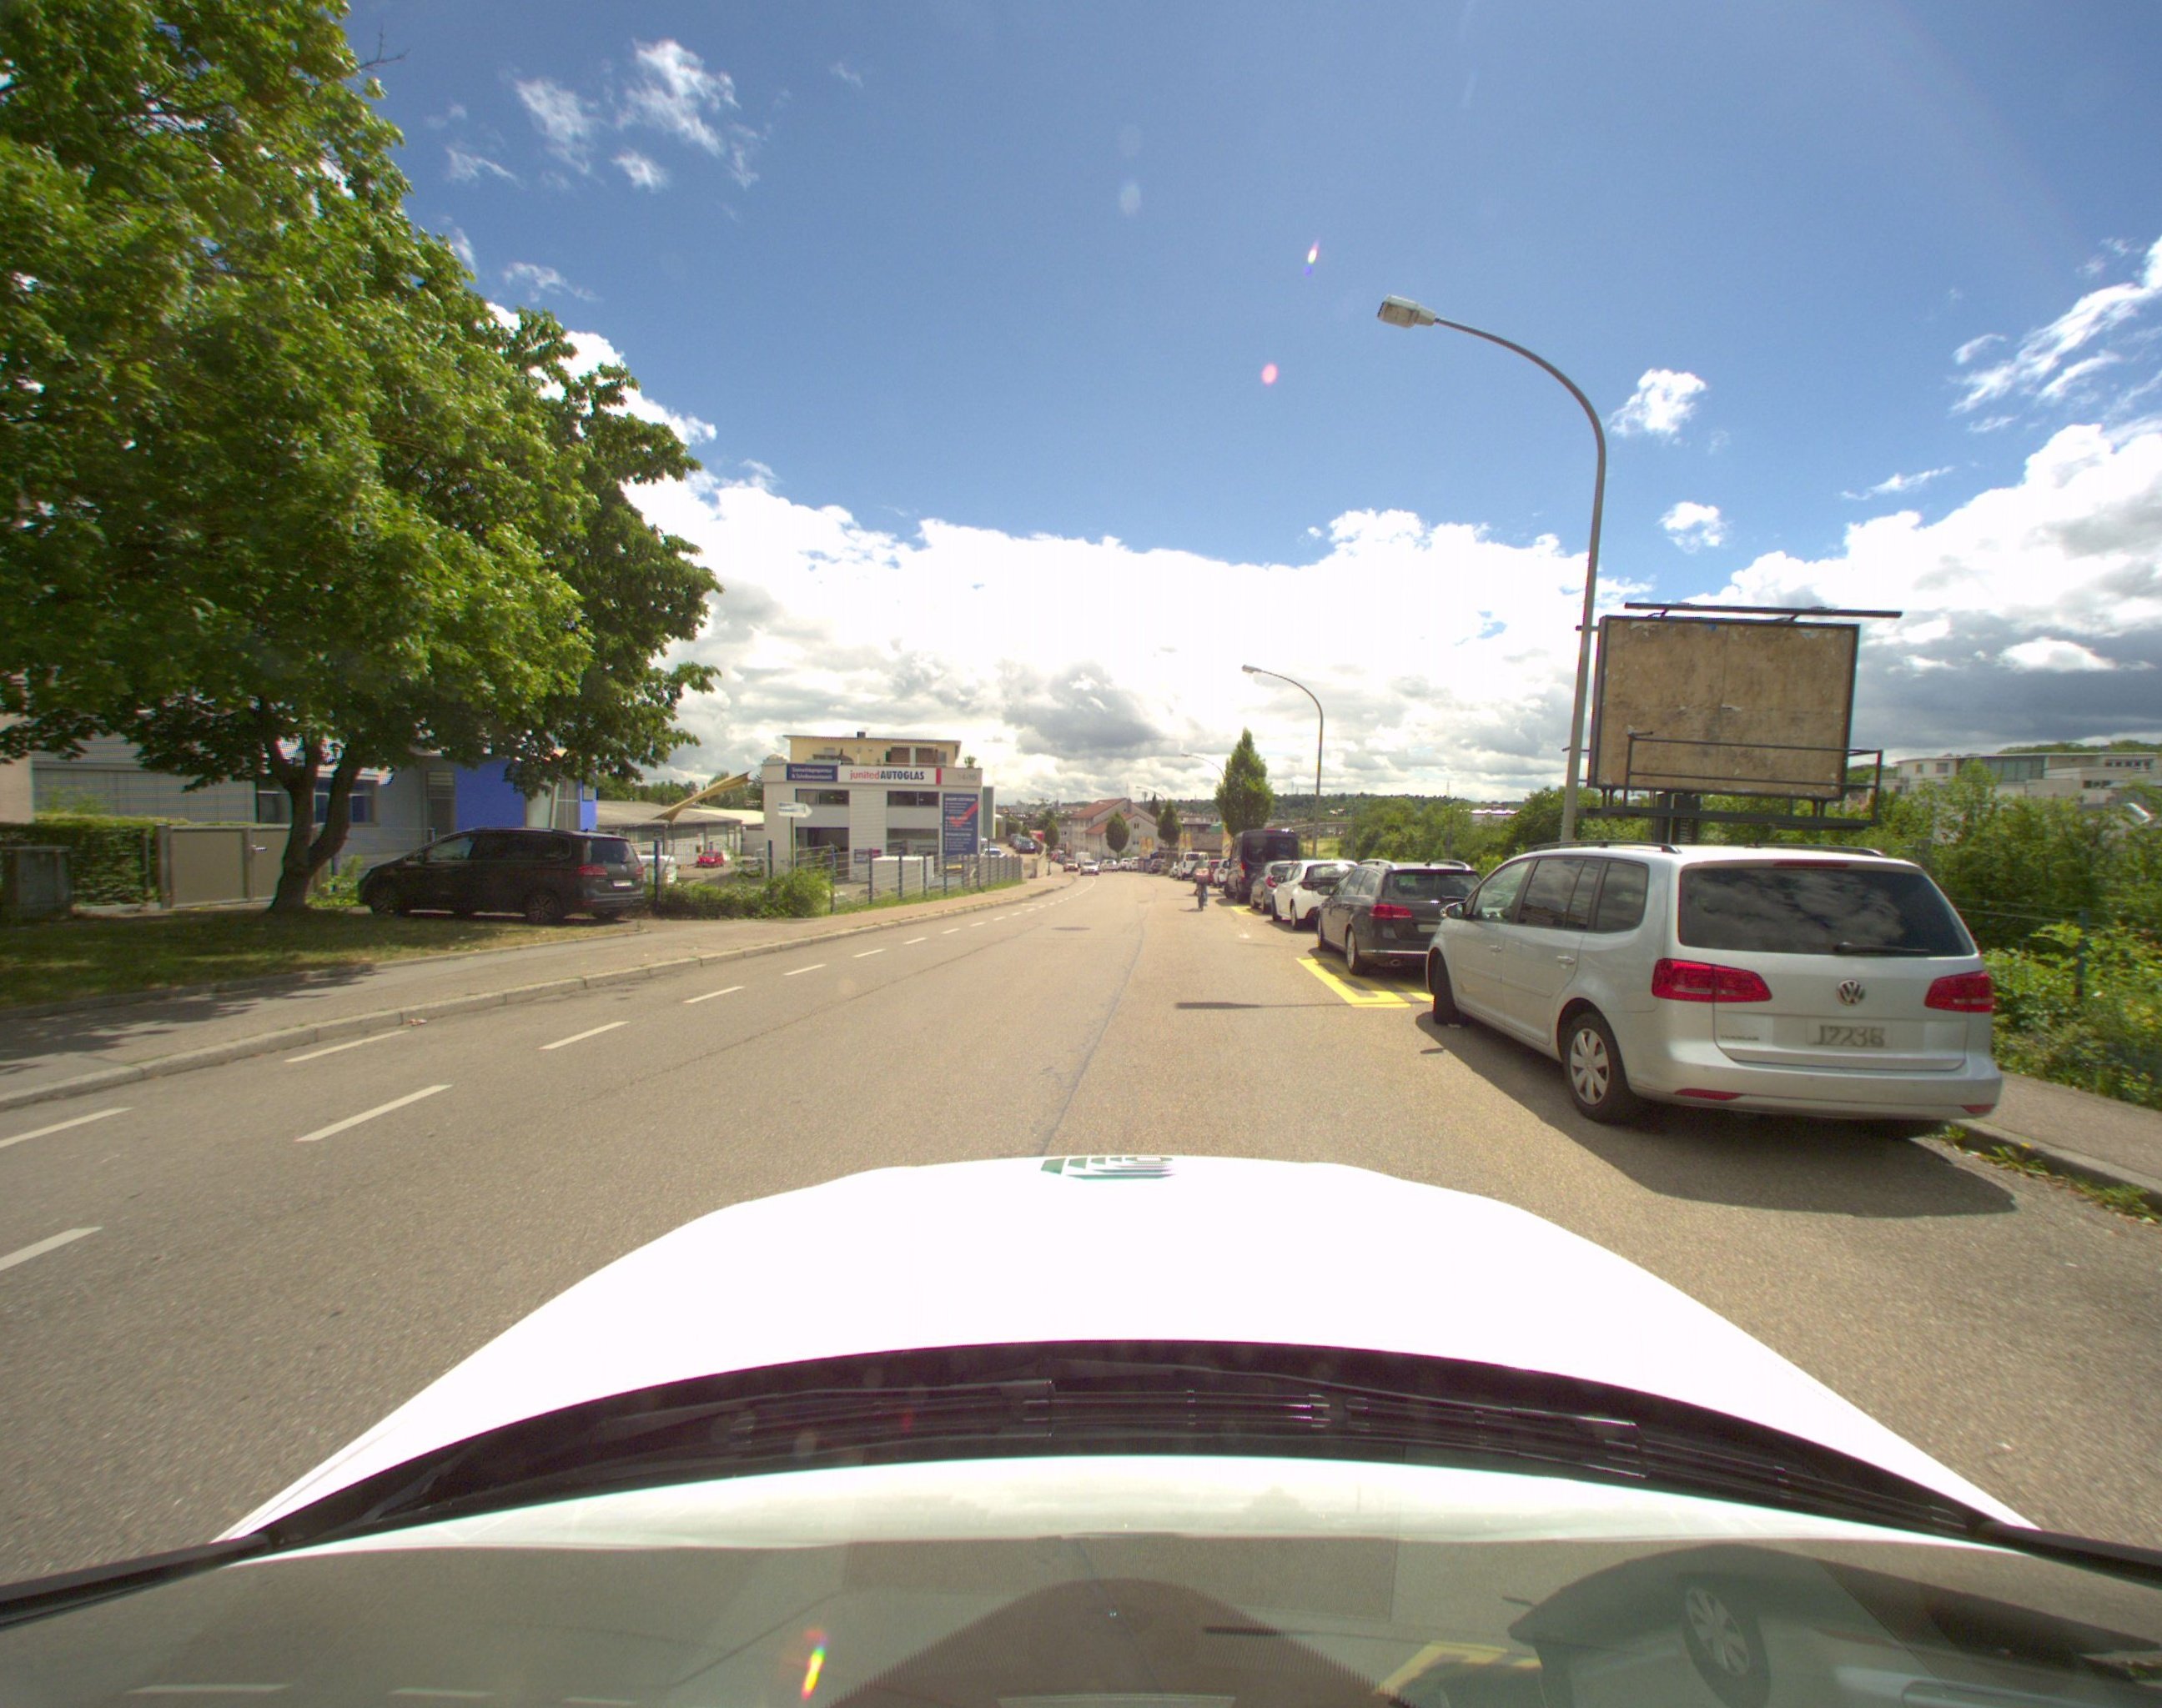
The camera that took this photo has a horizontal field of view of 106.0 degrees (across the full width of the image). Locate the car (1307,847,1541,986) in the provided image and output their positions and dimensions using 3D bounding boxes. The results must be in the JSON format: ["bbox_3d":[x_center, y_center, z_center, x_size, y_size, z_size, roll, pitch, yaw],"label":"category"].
[{"bbox_3d":[4.421,0.685,11.296,1.697,1.487,4.580,2,0,6],"label":"car"}]

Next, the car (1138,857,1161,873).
[{"bbox_3d":[7.653,1.277,91.070,2.129,1.706,3.996,-1,-1,-2],"label":"car"}]

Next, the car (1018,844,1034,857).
[{"bbox_3d":[-5.992,-0.393,88.670,1.668,1.323,3.711,-1,0,-5],"label":"car"}]

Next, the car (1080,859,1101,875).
[{"bbox_3d":[0.906,1.348,82.369,1.699,1.562,4.320,0,-1,-5],"label":"car"}]

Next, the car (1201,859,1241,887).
[{"bbox_3d":[8.200,1.096,47.933,1.867,1.508,4.003,-1,-1,3],"label":"car"}]

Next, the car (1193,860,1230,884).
[{"bbox_3d":[8.369,1.163,52.607,1.896,1.442,3.545,-1,-1,2],"label":"car"}]

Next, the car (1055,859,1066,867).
[{"bbox_3d":[-4.141,1.806,166.122,1.991,1.464,3.991,-1,-1,-6],"label":"car"}]

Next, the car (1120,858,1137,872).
[{"bbox_3d":[5.939,1.412,102.211,1.838,1.706,3.996,-1,-1,-2],"label":"car"}]

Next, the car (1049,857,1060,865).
[{"bbox_3d":[-5.702,1.507,172.983,1.991,1.464,3.991,-1,-1,-6],"label":"car"}]

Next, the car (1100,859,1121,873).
[{"bbox_3d":[3.506,1.417,96.140,1.990,1.618,3.993,-1,-1,-5],"label":"car"}]

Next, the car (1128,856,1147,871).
[{"bbox_3d":[6.659,1.104,96.524,1.808,1.706,3.996,-1,-1,-2],"label":"car"}]

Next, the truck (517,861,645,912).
[{"bbox_3d":[-28.356,1.815,46.338,5.776,2.706,2.172,-1,-1,-7],"label":"truck"}]

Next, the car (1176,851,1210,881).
[{"bbox_3d":[8.121,0.870,59.336,1.985,2.014,4.921,1,-1,3],"label":"car"}]

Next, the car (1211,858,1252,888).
[{"bbox_3d":[8.006,0.999,43.591,1.785,1.506,2.908,-1,-1,3],"label":"car"}]

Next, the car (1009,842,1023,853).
[{"bbox_3d":[-8.514,-0.897,106.307,1.669,1.323,3.708,-1,1,-8],"label":"car"}]

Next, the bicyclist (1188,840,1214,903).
[{"bbox_3d":[3.557,0.518,24.190,0.681,1.826,1.082,-1,-1,6],"label":"bicyclist"}]

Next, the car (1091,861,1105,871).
[{"bbox_3d":[2.737,1.898,128.870,1.988,1.464,3.997,-1,-1,-2],"label":"car"}]

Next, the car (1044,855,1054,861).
[{"bbox_3d":[-7.419,0.952,188.937,1.992,1.420,3.990,-1,-1,-7],"label":"car"}]

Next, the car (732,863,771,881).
[{"bbox_3d":[-26.181,1.394,64.845,1.993,1.354,3.986,0,-1,-10],"label":"car"}]

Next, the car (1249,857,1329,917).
[{"bbox_3d":[5.903,0.882,23.487,1.697,1.510,3.702,2,0,6],"label":"car"}]

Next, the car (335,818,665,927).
[{"bbox_3d":[-10.565,0.337,15.046,4.676,1.716,2.003,2,-2,5],"label":"car"}]

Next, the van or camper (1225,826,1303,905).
[{"bbox_3d":[6.569,0.410,29.851,2.114,2.585,5.927,0,-1,6],"label":"van or camper"}]

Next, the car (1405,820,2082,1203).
[{"bbox_3d":[3.866,0.704,5.885,1.697,1.678,4.315,2,0,6],"label":"car"}]

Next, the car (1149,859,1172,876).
[{"bbox_3d":[7.979,1.331,82.051,1.986,1.618,4.002,-1,-1,2],"label":"car"}]

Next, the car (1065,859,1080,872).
[{"bbox_3d":[-1.087,1.471,101.860,1.705,1.574,3.994,-1,-1,-4],"label":"car"}]

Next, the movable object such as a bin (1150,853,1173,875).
[{"bbox_3d":[8.544,1.046,86.433,2.129,2.303,2.555,-1,-1,-2],"label":"movable object such as a bin"}]

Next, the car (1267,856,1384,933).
[{"bbox_3d":[5.351,0.807,18.304,1.697,1.479,3.963,2,0,5],"label":"car"}]

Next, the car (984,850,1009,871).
[{"bbox_3d":[-6.890,0.523,65.941,1.846,1.650,3.989,-1,-1,-8],"label":"car"}]

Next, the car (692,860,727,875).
[{"bbox_3d":[-33.973,1.206,74.601,1.993,1.354,3.986,0,-1,-10],"label":"car"}]

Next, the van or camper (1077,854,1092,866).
[{"bbox_3d":[0.522,0.982,138.198,1.992,2.014,3.990,3,0,-7],"label":"van or camper"}]

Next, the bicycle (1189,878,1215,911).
[{"bbox_3d":[3.568,1.179,24.192,0.684,0.878,2.105,-1,-1,6],"label":"bicycle"}]
